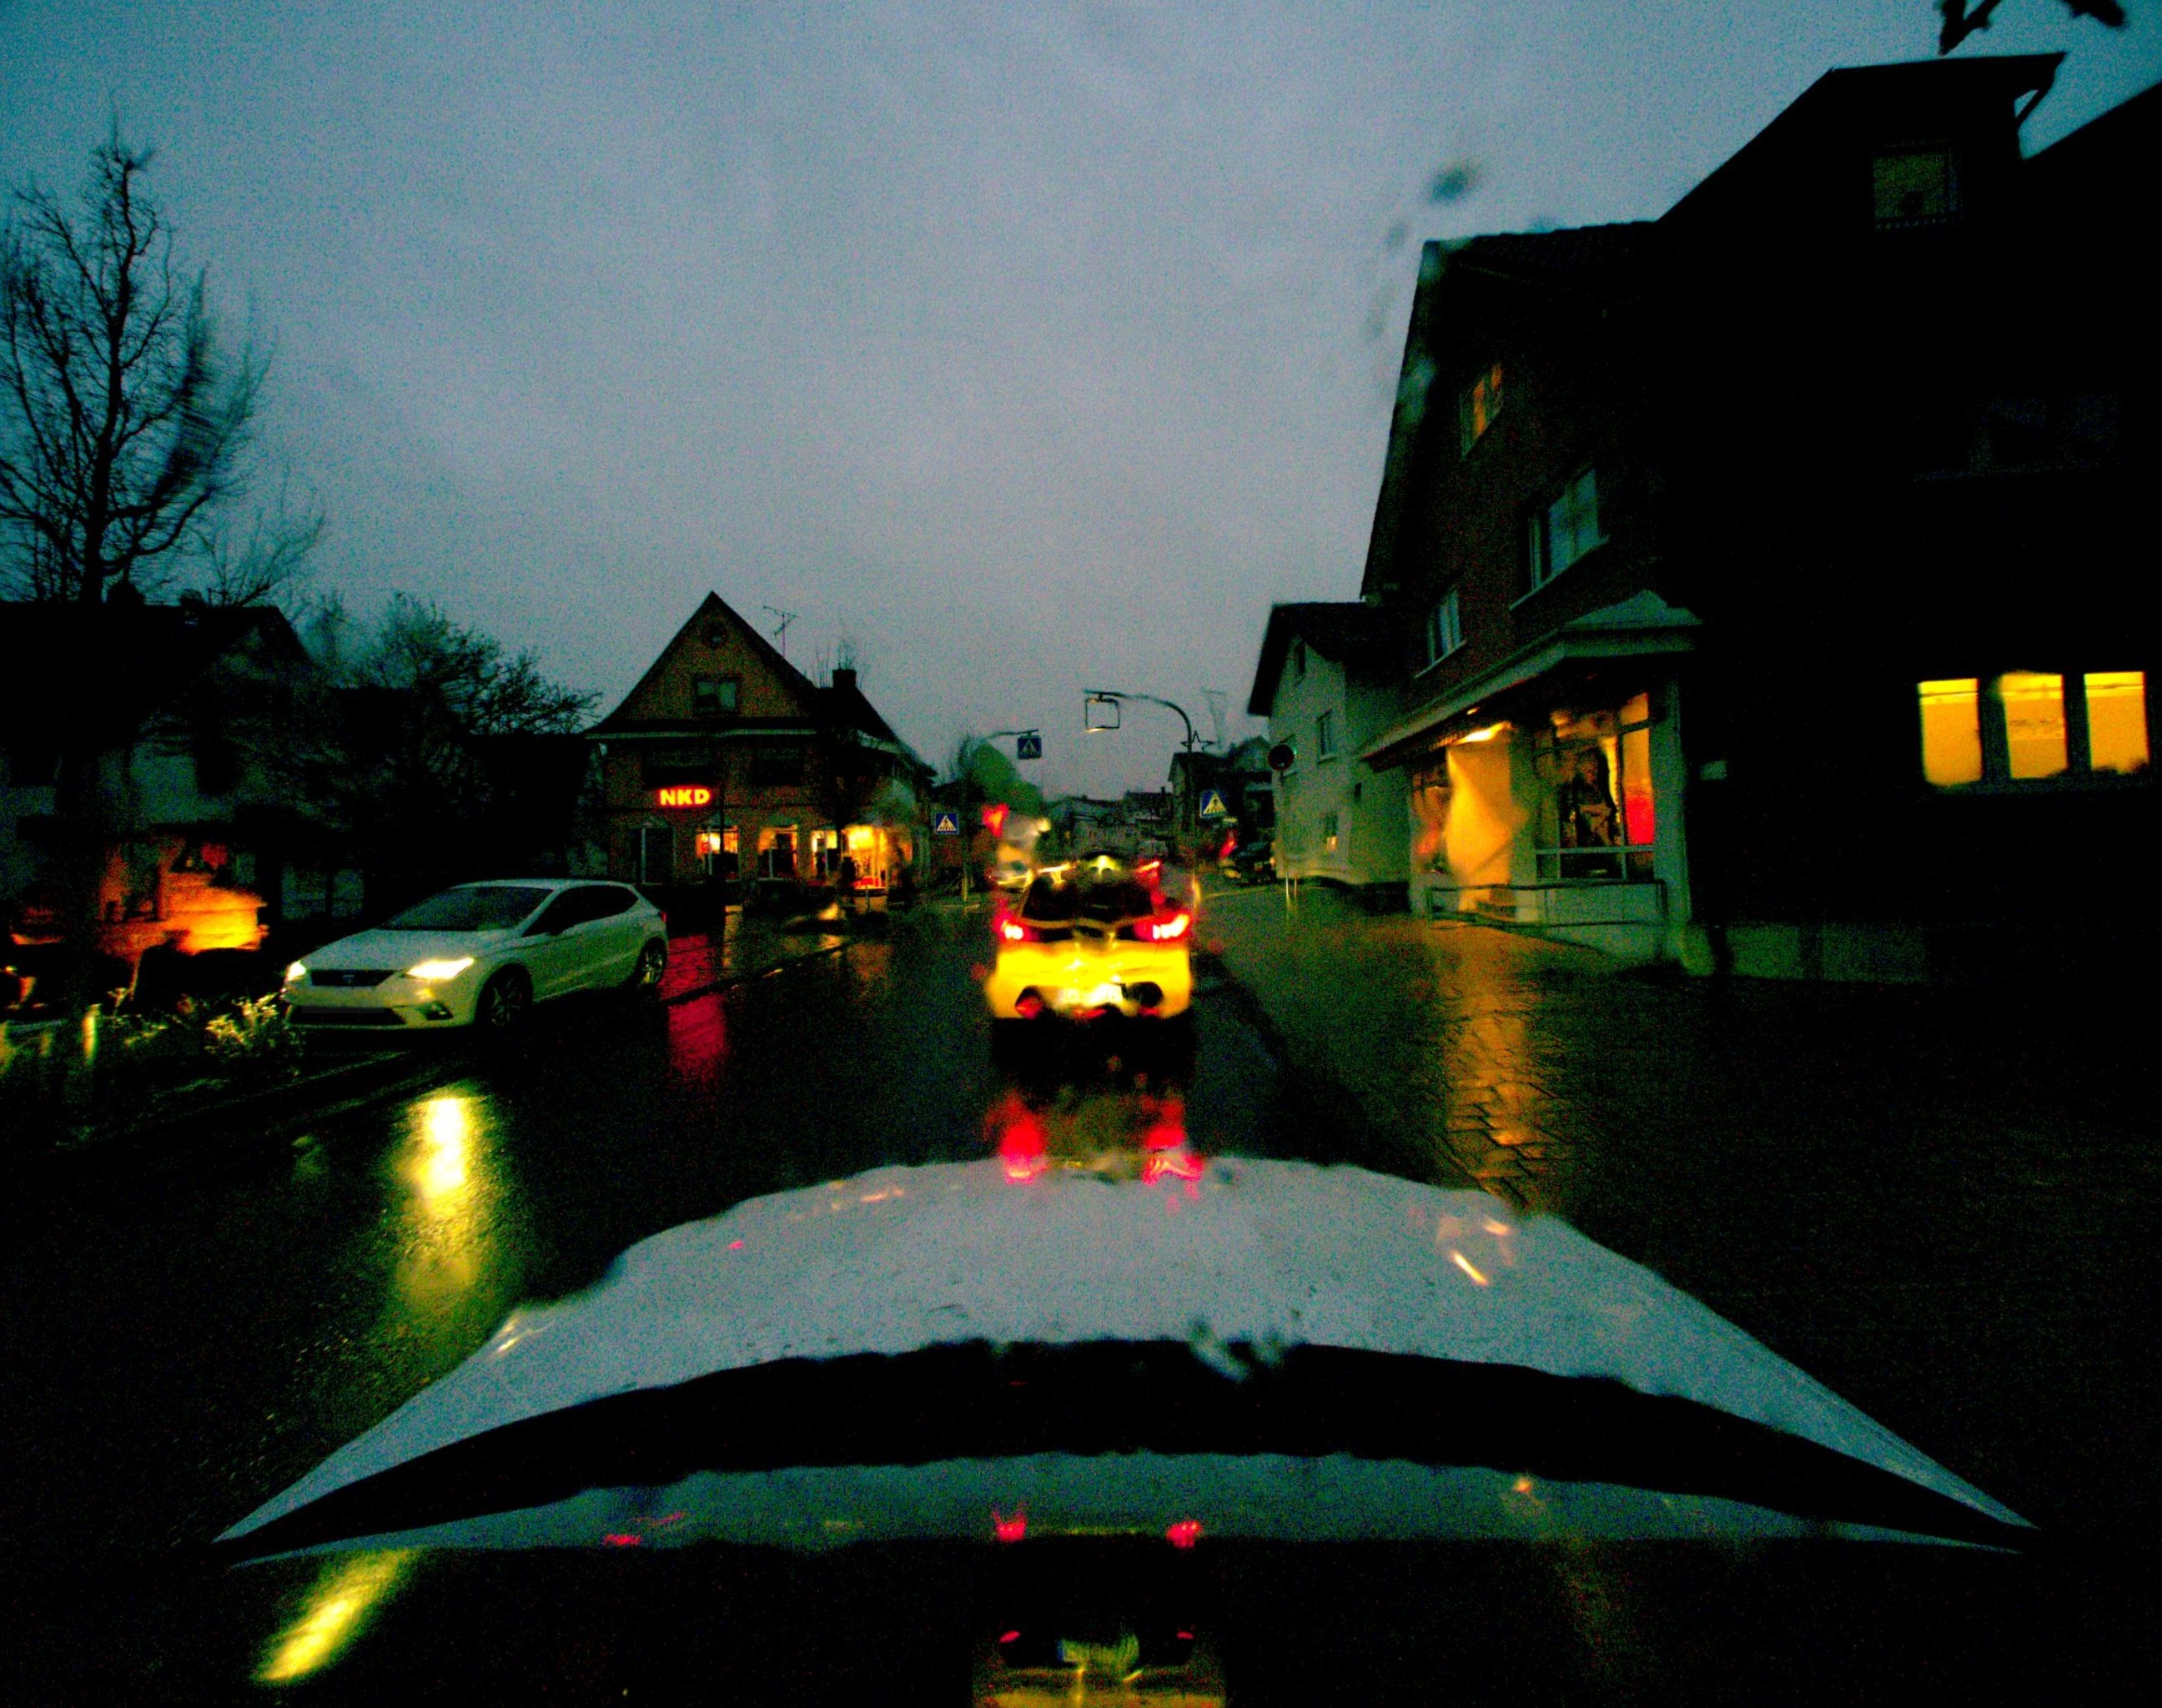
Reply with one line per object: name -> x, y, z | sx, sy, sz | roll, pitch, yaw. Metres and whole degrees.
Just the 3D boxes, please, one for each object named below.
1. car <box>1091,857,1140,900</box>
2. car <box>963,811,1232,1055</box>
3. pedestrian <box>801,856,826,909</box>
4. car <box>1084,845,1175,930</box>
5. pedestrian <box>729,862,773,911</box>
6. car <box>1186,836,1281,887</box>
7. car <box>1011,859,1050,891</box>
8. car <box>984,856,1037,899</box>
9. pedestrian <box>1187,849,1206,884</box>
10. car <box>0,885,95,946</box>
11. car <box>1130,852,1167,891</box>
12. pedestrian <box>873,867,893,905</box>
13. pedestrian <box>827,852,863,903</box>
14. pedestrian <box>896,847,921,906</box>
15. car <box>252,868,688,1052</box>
car -> 1.468, 0.948, 33.146 | 1.819, 1.601, 4.586 | -1, 0, 4
car -> 0.310, 0.588, 8.479 | 1.984, 1.795, 4.654 | -2, 0, 5
pedestrian -> -8.929, 0.935, 27.219 | 0.586, 1.742, 0.683 | -1, -1, -3
car -> 1.077, 0.681, 18.120 | 1.790, 1.662, 4.003 | -1, -1, 3
pedestrian -> -10.228, 0.987, 25.237 | 0.886, 1.417, 0.777 | 5, -1, 6
car -> 6.214, 0.303, 33.492 | 3.679, 2.014, 1.691 | -1, -1, 5
car -> -2.961, 1.202, 48.385 | 1.987, 1.752, 4.361 | -1, 0, 0
car -> -3.517, 1.147, 41.395 | 1.985, 2.014, 4.366 | -1, 0, 4
pedestrian -> 6.595, 0.711, 46.732 | 1.011, 2.014, 1.277 | -1, -1, 7
car -> -29.227, 1.652, 21.474 | 3.894, 1.519, 1.608 | -1, -1, -12
car -> 3.693, 0.914, 45.169 | 1.637, 2.013, 3.999 | -3, 0, -1
pedestrian -> -6.516, 1.056, 26.837 | 0.551, 1.233, 0.433 | -1, -1, -2
pedestrian -> -8.286, 0.806, 28.661 | 0.971, 1.742, 0.961 | 0, 0, -1
pedestrian -> -5.584, 0.711, 26.360 | 0.701, 1.876, 0.616 | 0, 0, -4
car -> -6.200, 0.938, 8.973 | 1.663, 1.516, 4.001 | 0, 0, 2
